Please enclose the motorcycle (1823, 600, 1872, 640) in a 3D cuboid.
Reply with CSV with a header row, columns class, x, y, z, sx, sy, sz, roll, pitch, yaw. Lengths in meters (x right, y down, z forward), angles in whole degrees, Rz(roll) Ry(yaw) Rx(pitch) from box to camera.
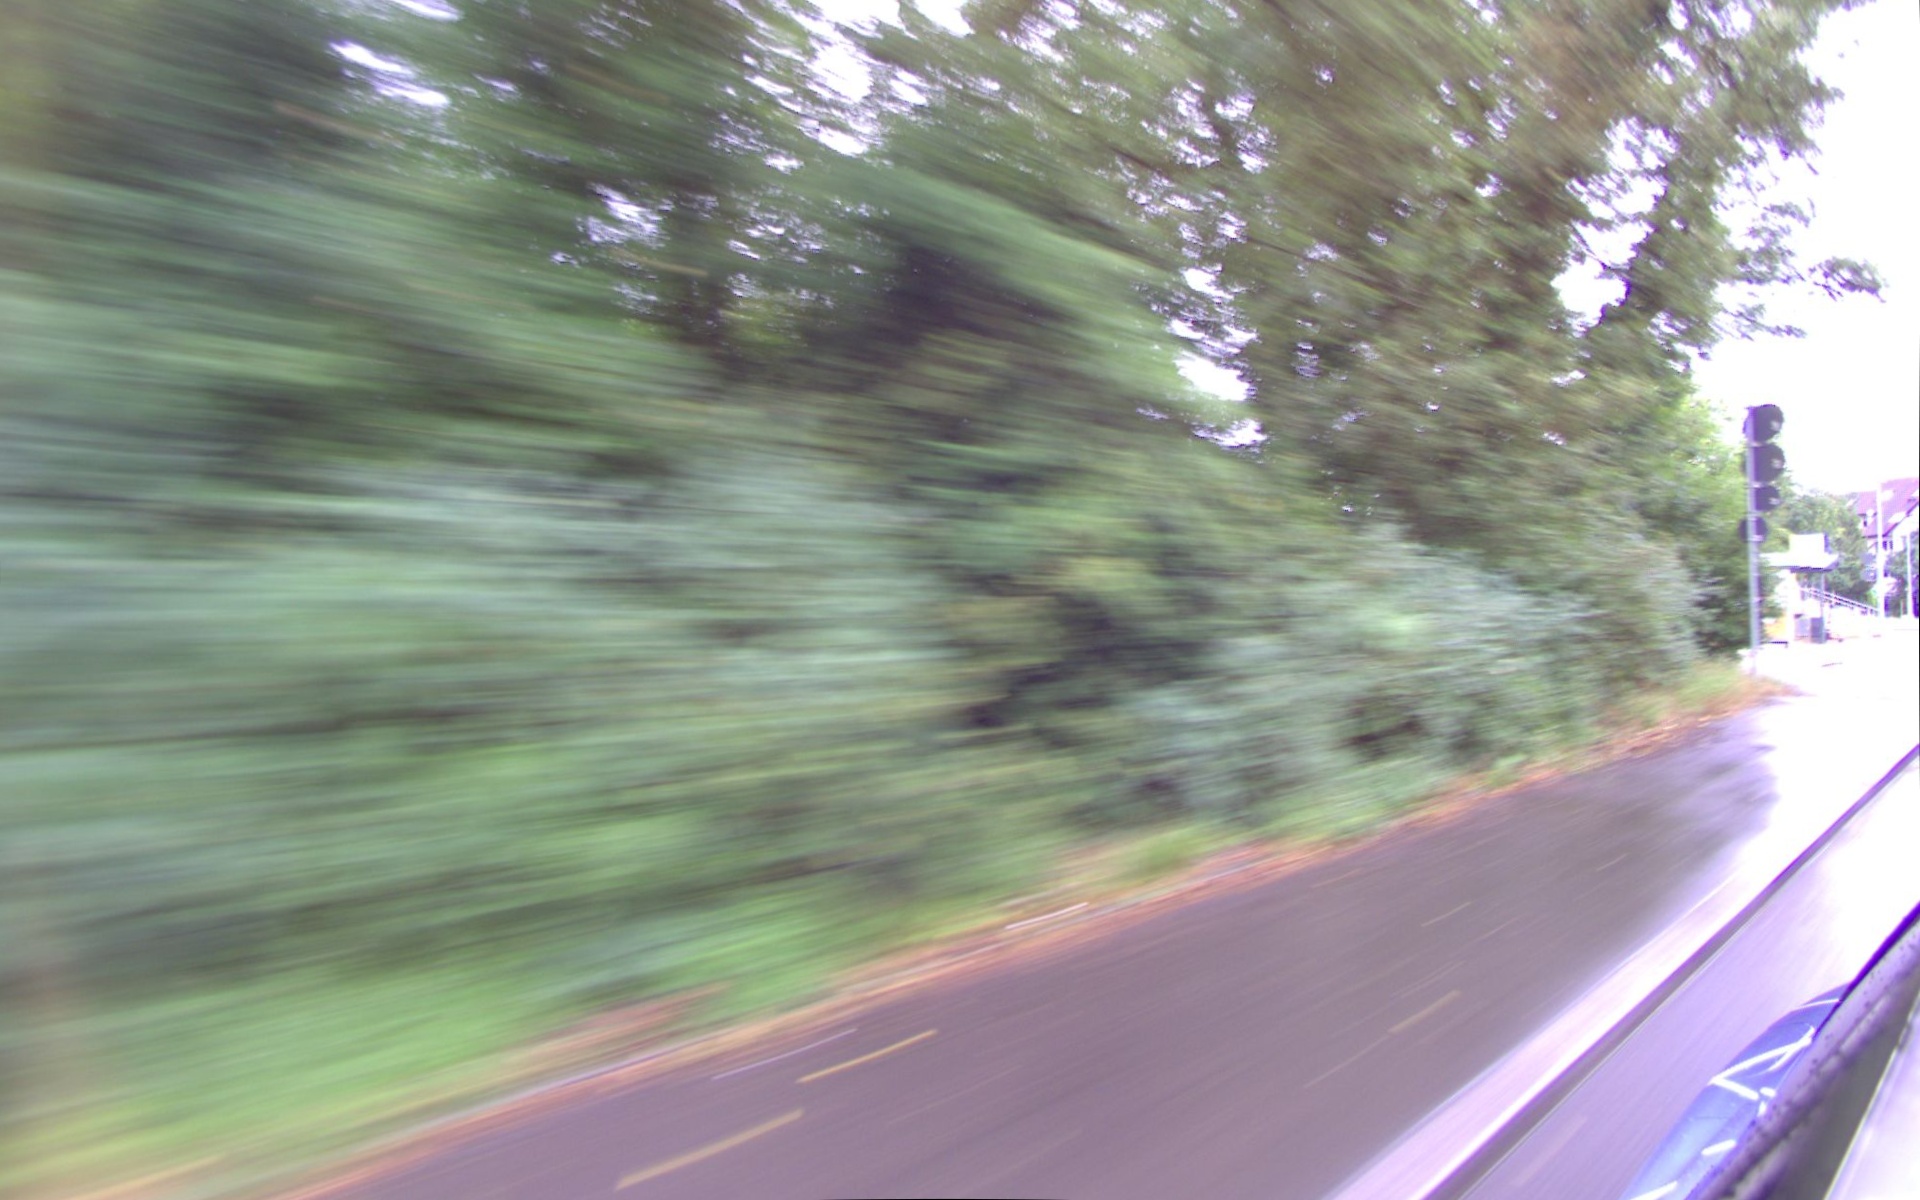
class,x,y,z,sx,sy,sz,roll,pitch,yaw
motorcycle,29.376,0.647,33.497,1.506,1.305,0.592,0,-1,-23
